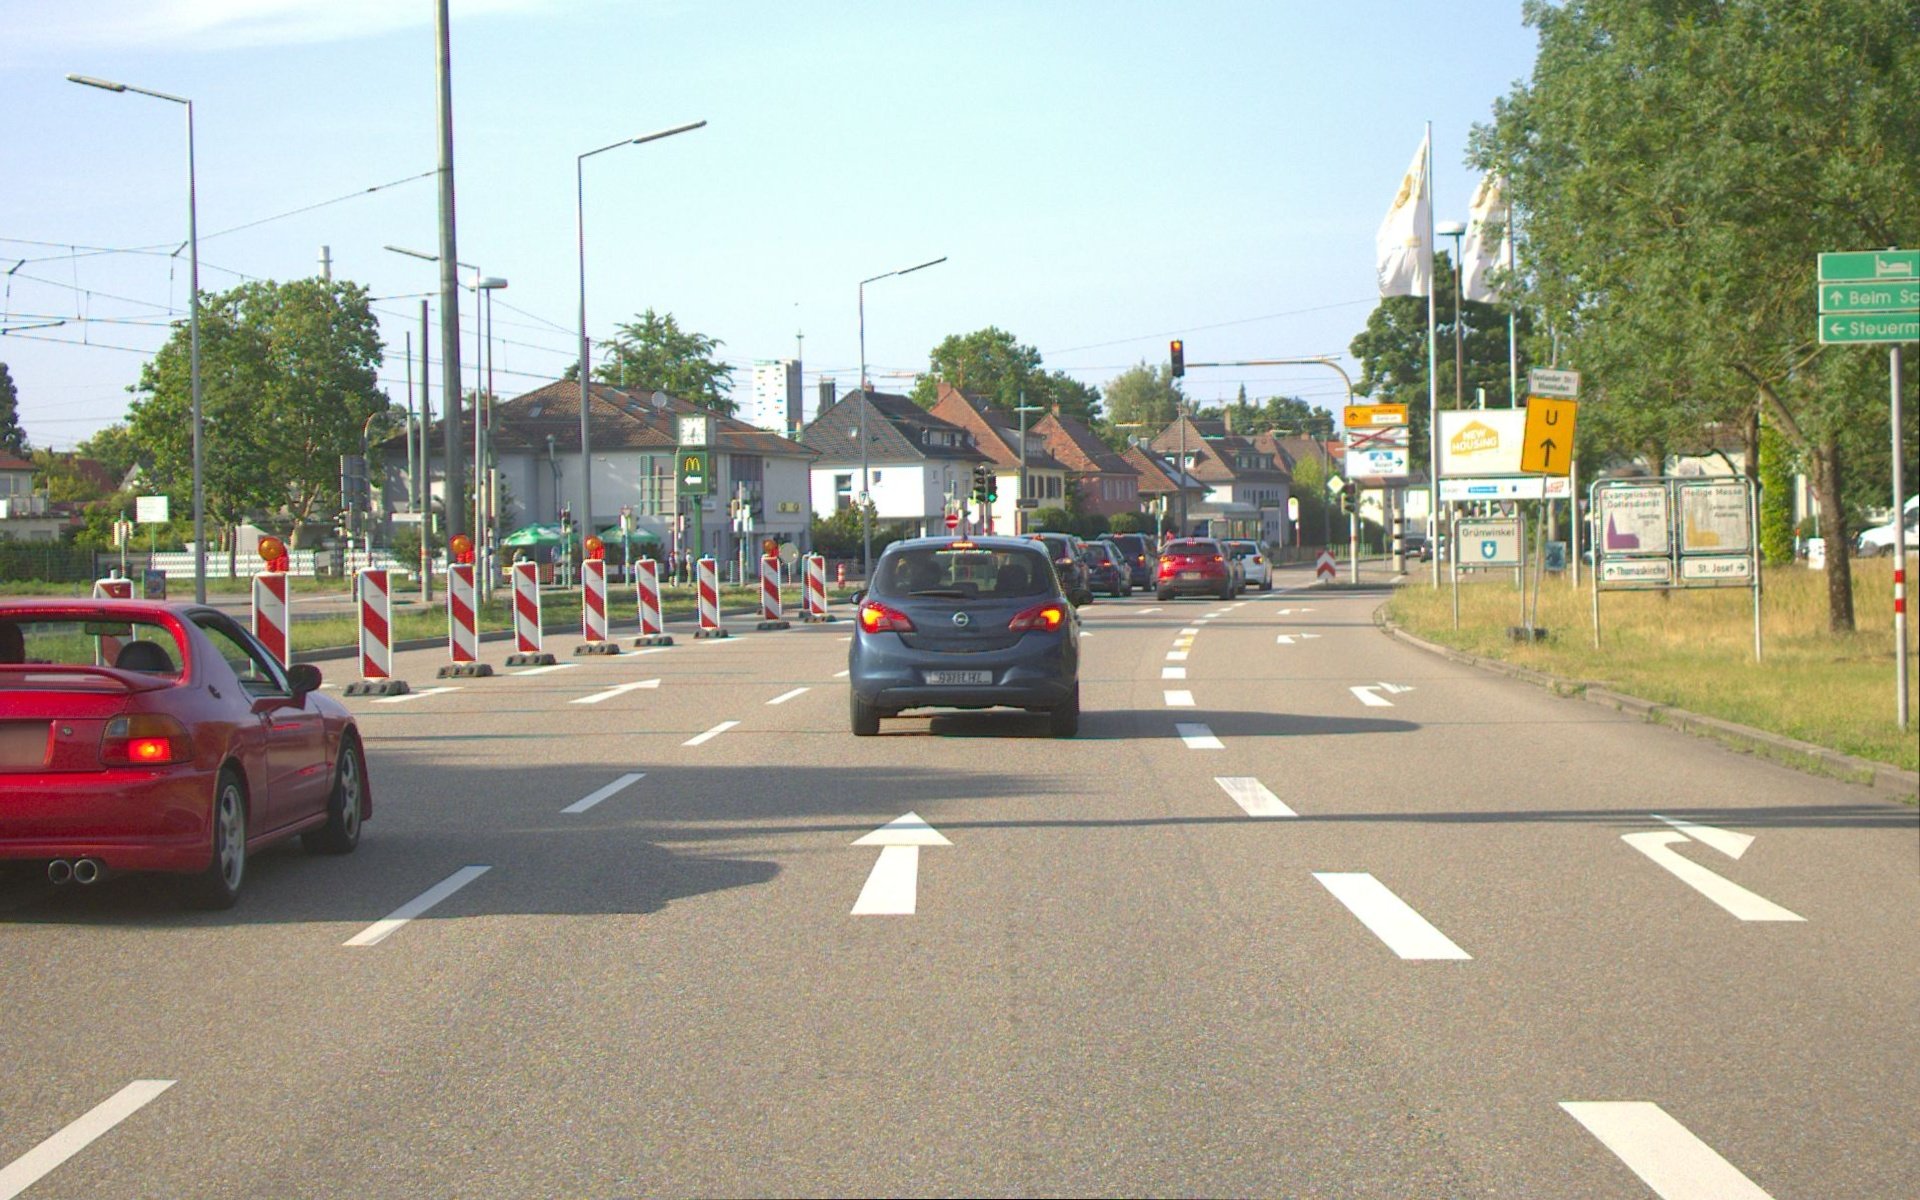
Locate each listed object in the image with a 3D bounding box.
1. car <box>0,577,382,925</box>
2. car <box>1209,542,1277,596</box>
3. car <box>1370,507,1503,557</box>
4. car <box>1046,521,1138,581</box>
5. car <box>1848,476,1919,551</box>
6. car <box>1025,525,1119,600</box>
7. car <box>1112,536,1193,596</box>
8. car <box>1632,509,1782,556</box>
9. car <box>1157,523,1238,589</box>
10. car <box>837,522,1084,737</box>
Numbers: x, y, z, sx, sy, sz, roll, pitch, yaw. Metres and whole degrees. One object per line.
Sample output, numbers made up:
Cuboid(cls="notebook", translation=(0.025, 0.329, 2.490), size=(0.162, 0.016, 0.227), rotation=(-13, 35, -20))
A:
Cuboid(cls="car", translation=(-3.685, 0.548, 14.680), size=(1.731, 1.202, 3.847), rotation=(1, 1, 1))
Cuboid(cls="car", translation=(8.076, -0.894, 97.951), size=(1.657, 1.438, 4.013), rotation=(-1, 1, 8))
Cuboid(cls="car", translation=(15.102, -2.161, 108.859), size=(3.989, 1.481, 1.999), rotation=(-1, 1, 12))
Cuboid(cls="car", translation=(3.454, -1.294, 89.327), size=(1.700, 1.503, 4.552), rotation=(0, 1, 11))
Cuboid(cls="car", translation=(34.062, -3.031, 119.184), size=(6.211, 2.574, 1.999), rotation=(-1, 1, 11))
Cuboid(cls="car", translation=(2.600, -0.883, 79.108), size=(1.764, 1.665, 4.083), rotation=(0, 1, 7))
Cuboid(cls="car", translation=(5.536, -0.991, 98.548), size=(1.507, 1.645, 4.741), rotation=(-1, 1, 13))
Cuboid(cls="car", translation=(26.215, -2.373, 120.805), size=(5.097, 1.557, 1.839), rotation=(-1, 1, 11))
Cuboid(cls="car", translation=(5.881, -1.111, 84.721), size=(1.707, 1.546, 3.977), rotation=(-1, 1, 8))
Cuboid(cls="car", translation=(0.057, 0.161, 26.697), size=(1.742, 1.500, 4.223), rotation=(-1, 1, 2))
